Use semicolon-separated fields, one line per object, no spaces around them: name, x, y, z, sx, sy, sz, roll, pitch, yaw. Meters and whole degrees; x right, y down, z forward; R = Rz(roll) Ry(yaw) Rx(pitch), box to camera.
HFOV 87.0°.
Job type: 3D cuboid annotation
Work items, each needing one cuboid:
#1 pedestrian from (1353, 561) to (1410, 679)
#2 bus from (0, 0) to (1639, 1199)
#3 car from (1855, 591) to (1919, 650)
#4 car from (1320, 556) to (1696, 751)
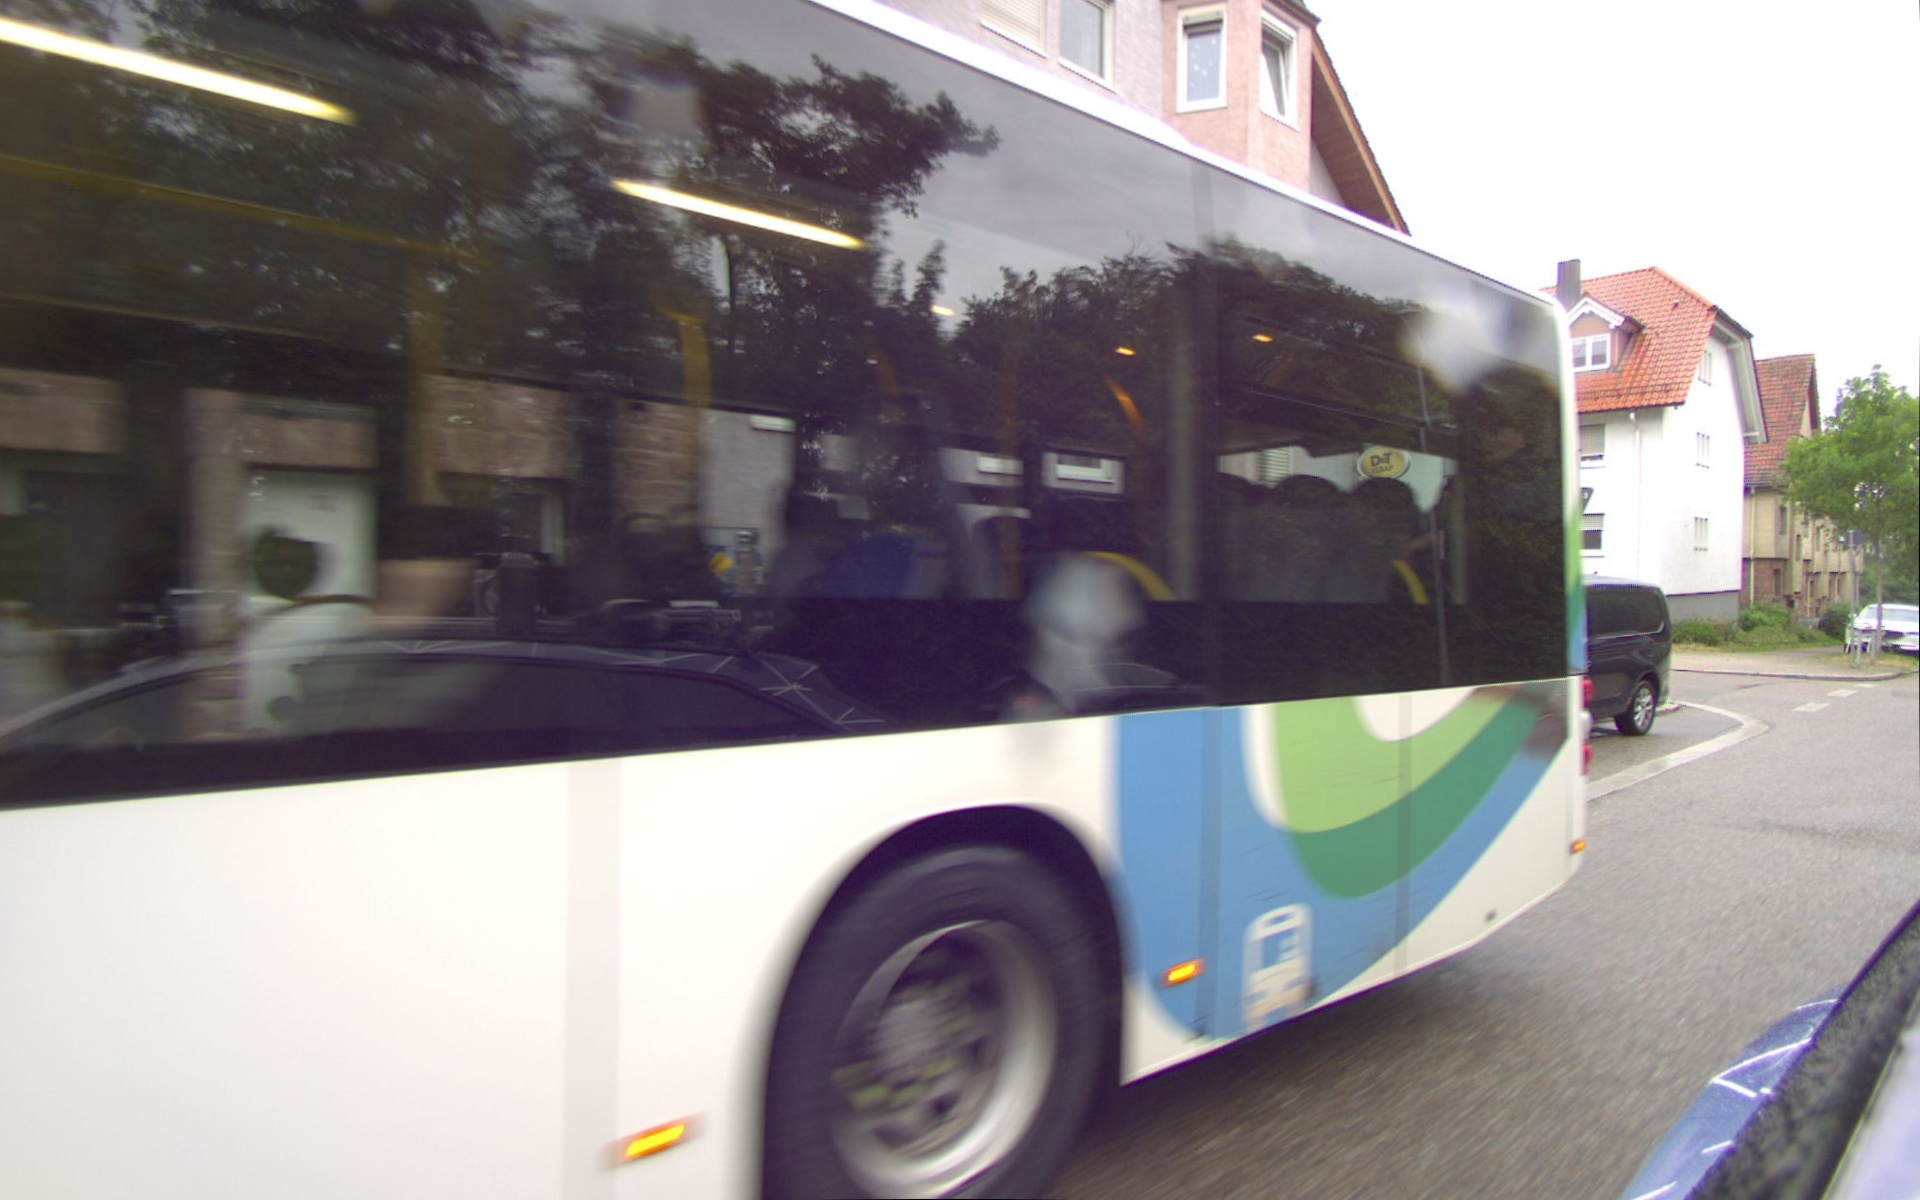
pedestrian;6.674;0.307;16.034;0.566;1.816;0.618;1;0;-40
bus;-1.377;-0.020;2.678;8.396;2.996;2.563;1;1;-36
car;29.613;0.652;31.707;4.406;1.682;1.924;2;1;-43
car;6.345;0.503;11.538;4.594;1.830;1.850;1;0;-34
